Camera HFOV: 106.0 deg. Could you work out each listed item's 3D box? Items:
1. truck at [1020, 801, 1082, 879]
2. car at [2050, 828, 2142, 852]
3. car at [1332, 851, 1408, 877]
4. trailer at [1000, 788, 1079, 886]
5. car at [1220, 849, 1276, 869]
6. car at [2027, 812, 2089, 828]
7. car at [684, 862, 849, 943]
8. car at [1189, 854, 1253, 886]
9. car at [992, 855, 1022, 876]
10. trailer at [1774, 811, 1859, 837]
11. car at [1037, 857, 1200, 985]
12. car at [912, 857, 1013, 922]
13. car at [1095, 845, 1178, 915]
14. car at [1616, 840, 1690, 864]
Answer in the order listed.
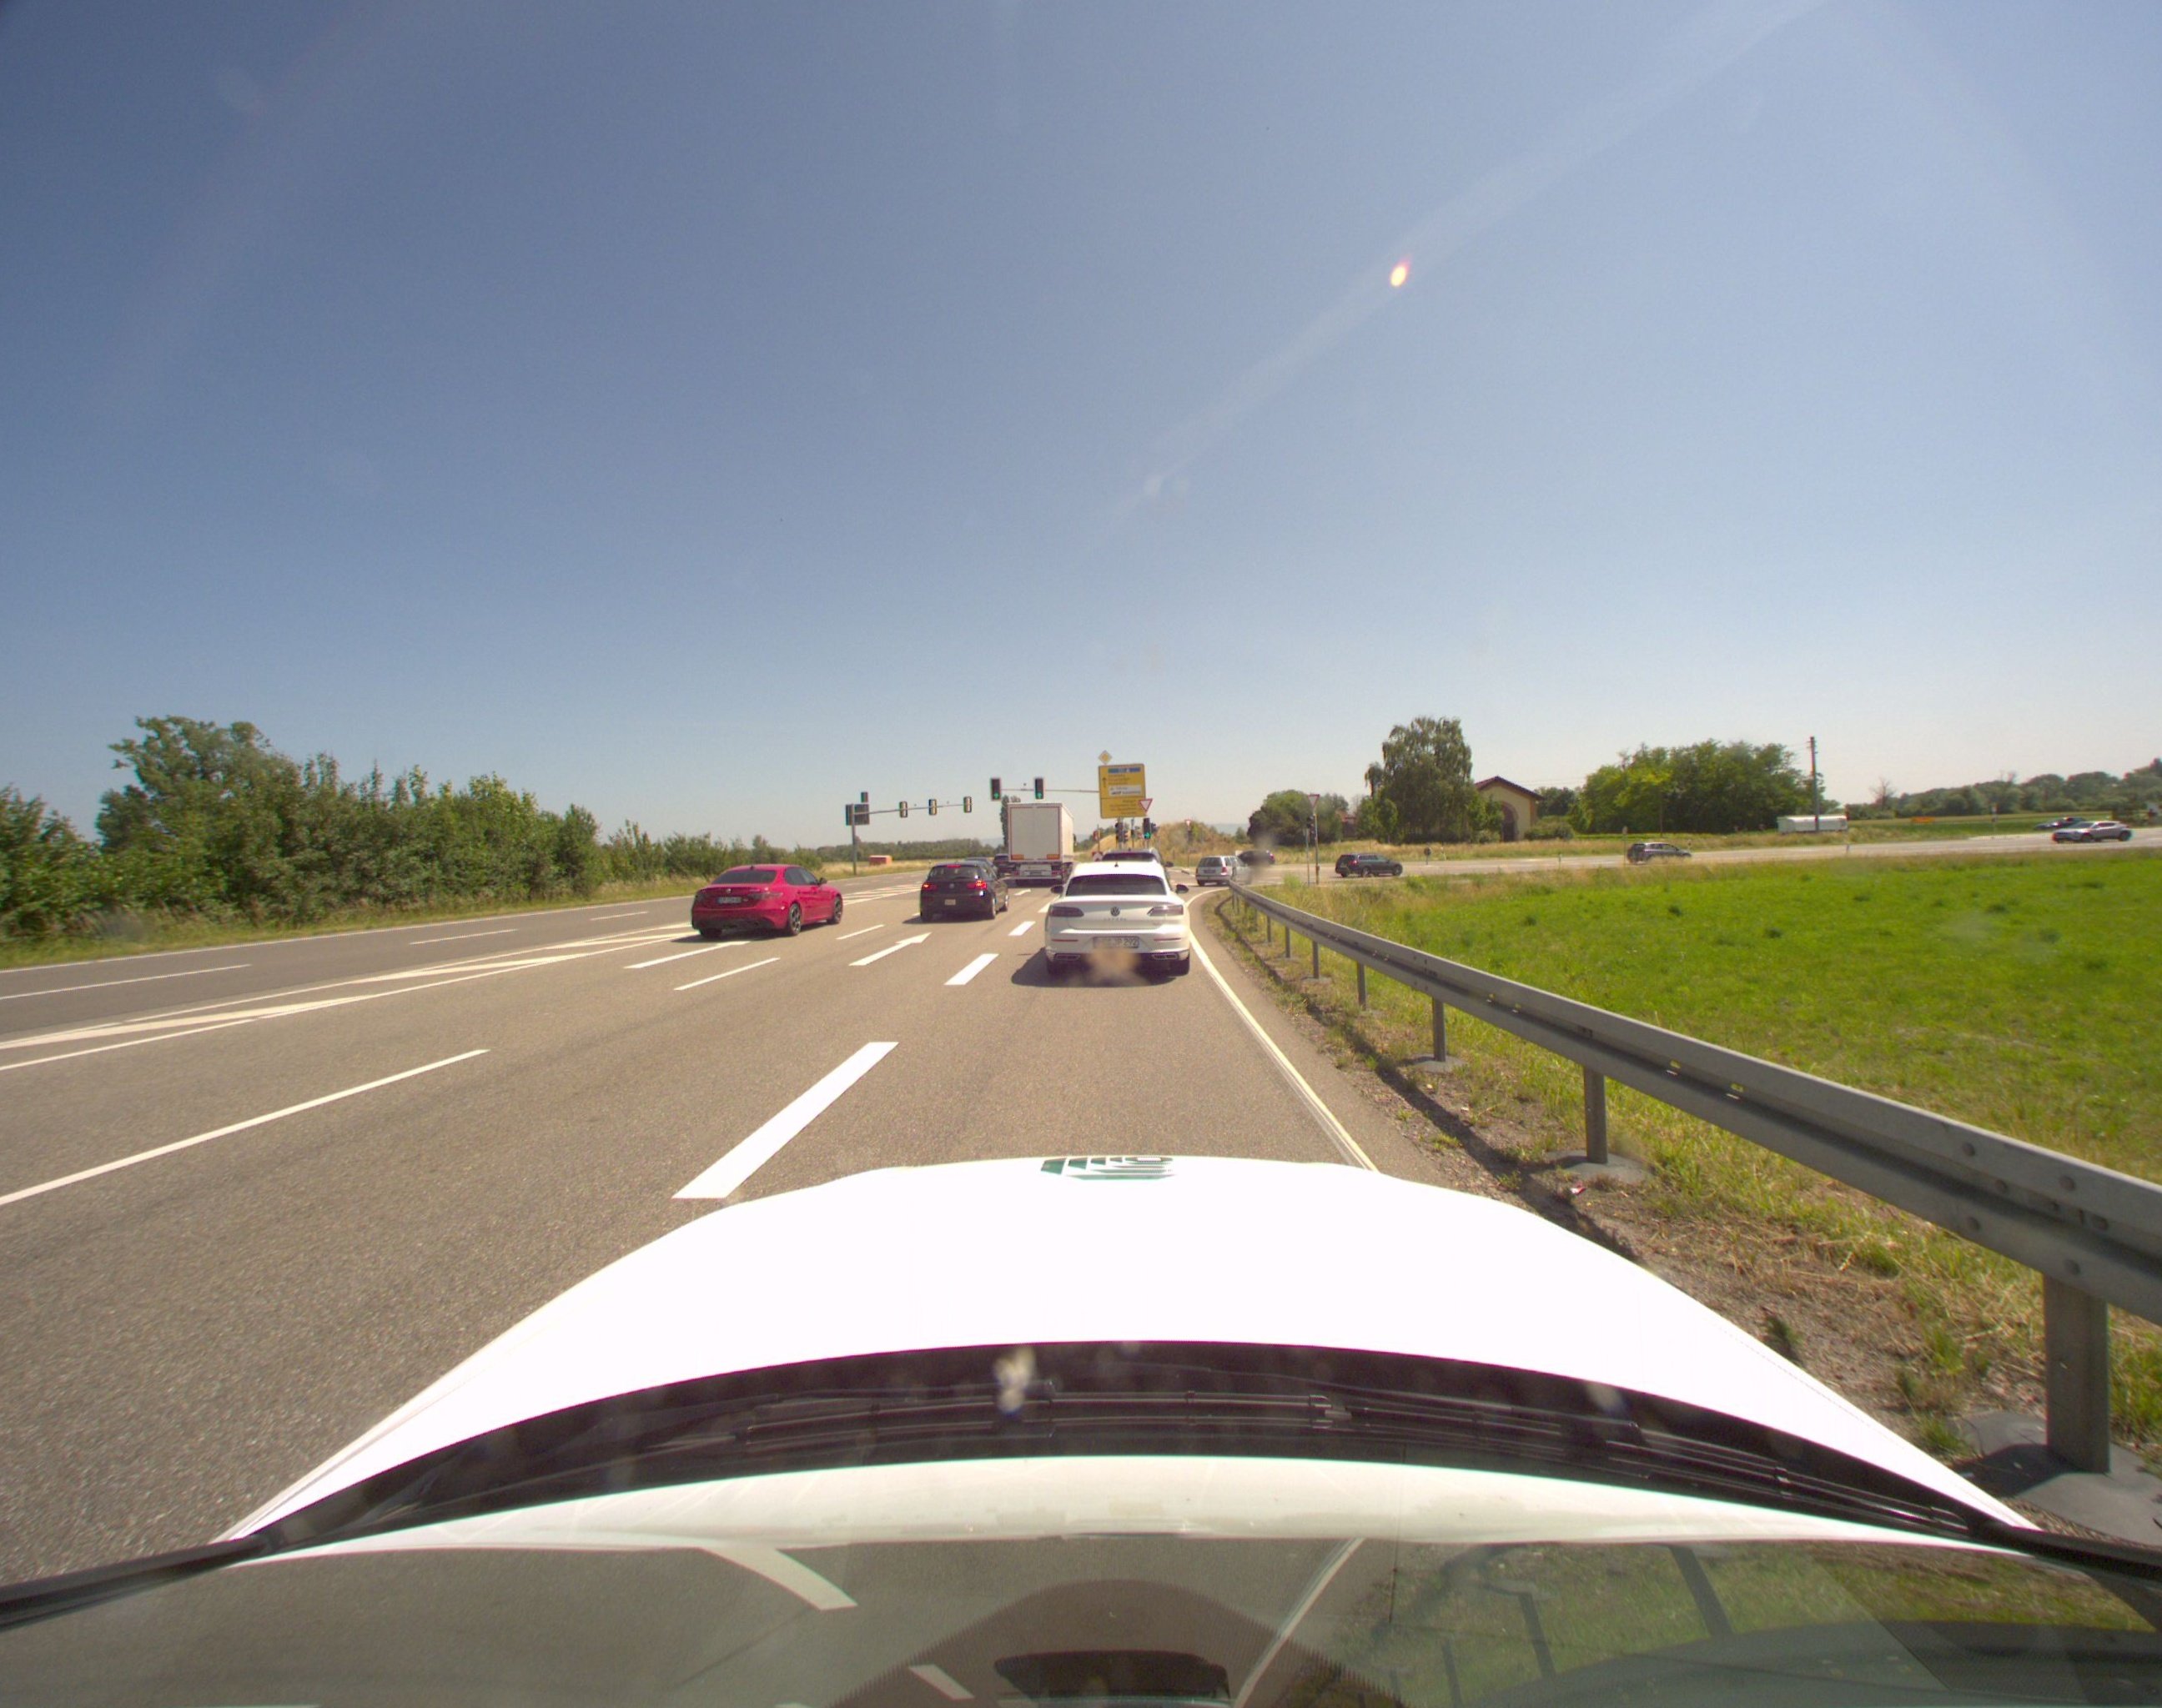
[{"bbox_3d":[-1.750,-0.832,50.968,3.368,4.542,6.374,-1,0,2],"label":"truck"},{"bbox_3d":[74.088,-1.029,59.475,4.525,1.543,1.870,-3,1,-3],"label":"car"},{"bbox_3d":[17.455,0.571,49.165,4.426,1.476,1.789,-1,-1,-28],"label":"car"},{"bbox_3d":[-1.943,-0.773,44.453,3.369,4.542,12.874,-1,0,1],"label":"trailer"},{"bbox_3d":[13.374,0.371,65.433,4.240,1.368,1.778,-3,1,4],"label":"car"},{"bbox_3d":[97.390,-3.368,81.176,3.803,1.387,1.684,-1,2,9],"label":"car"},{"bbox_3d":[-6.560,0.935,17.569,1.743,1.421,4.566,-1,0,0],"label":"car"},{"bbox_3d":[6.730,0.717,38.913,1.783,1.429,4.117,-1,-1,28],"label":"car"},{"bbox_3d":[-5.452,0.820,60.182,1.803,1.493,4.020,-1,0,0],"label":"car"},{"bbox_3d":[77.848,-3.141,86.301,6.330,2.455,2.691,-3,1,6],"label":"trailer"},{"bbox_3d":[0.502,0.784,11.636,1.841,1.433,4.610,-1,0,2],"label":"car"},{"bbox_3d":[-2.898,0.823,20.835,1.777,1.430,4.383,-1,0,2],"label":"car"},{"bbox_3d":[1.566,0.633,21.421,1.924,1.616,4.386,-1,0,7],"label":"car"},{"bbox_3d":[38.670,-0.112,55.080,3.863,1.522,1.802,-1,-1,-5],"label":"car"}]
